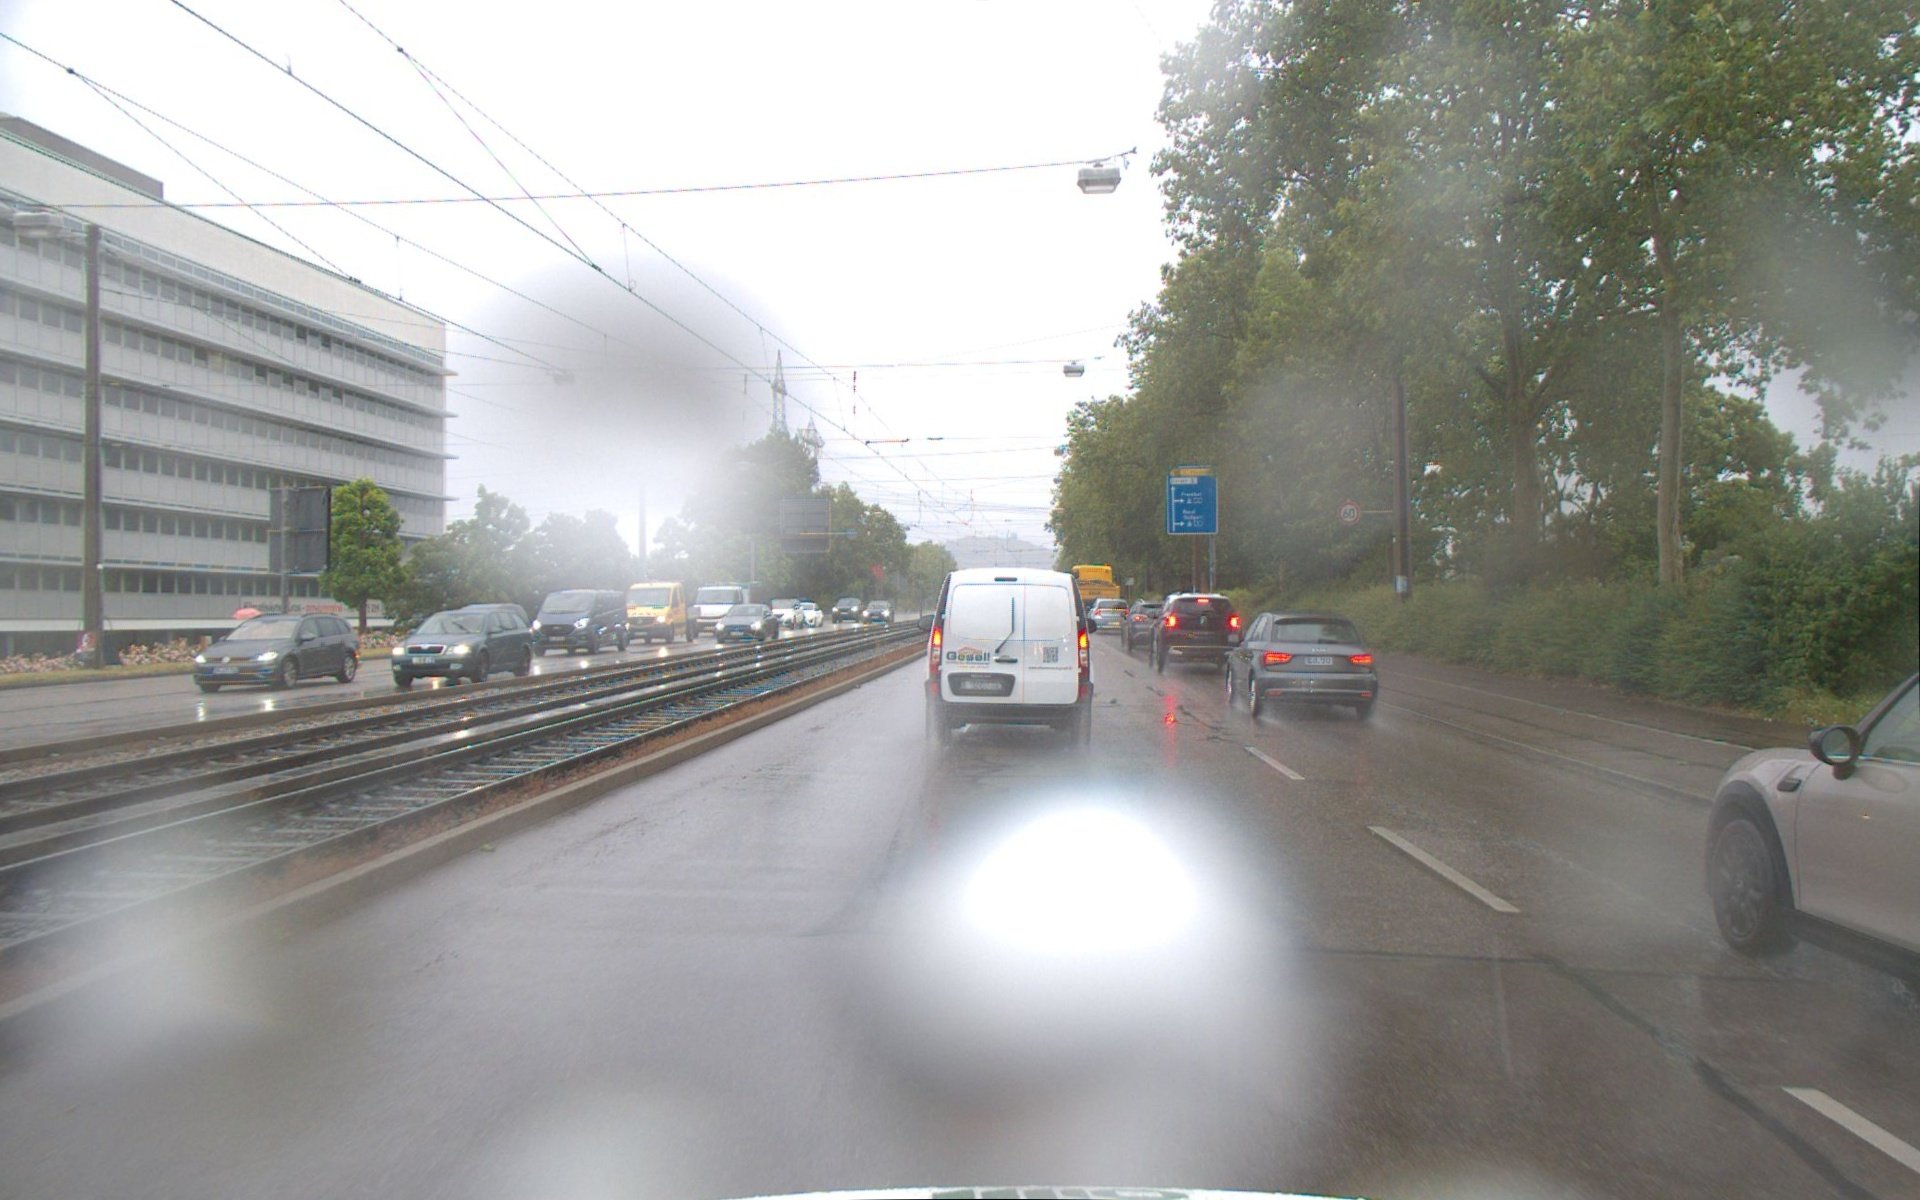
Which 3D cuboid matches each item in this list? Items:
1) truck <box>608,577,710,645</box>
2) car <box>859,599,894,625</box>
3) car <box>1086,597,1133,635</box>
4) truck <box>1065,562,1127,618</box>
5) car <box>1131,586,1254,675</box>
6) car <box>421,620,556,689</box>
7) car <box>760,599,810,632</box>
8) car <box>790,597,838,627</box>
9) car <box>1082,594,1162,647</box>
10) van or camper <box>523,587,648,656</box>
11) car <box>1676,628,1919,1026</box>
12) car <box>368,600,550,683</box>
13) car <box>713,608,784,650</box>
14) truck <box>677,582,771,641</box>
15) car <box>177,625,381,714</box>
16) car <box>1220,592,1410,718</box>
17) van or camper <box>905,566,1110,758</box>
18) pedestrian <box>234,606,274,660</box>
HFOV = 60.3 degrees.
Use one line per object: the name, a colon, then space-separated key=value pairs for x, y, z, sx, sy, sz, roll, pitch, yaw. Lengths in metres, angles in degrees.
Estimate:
truck: x=-11.660 y=0.409 z=64.656 sx=2.180 sy=2.505 sz=6.071 roll=1 pitch=0 yaw=7
car: x=-5.440 y=0.761 z=108.166 sx=1.780 sy=1.651 sz=4.538 roll=0 pitch=0 yaw=3
car: x=6.042 y=0.632 z=67.169 sx=1.780 sy=1.438 sz=3.780 roll=1 pitch=1 yaw=4
truck: x=7.059 y=-0.534 z=86.604 sx=3.048 sy=2.821 sz=6.332 roll=0 pitch=0 yaw=3
car: x=4.928 y=0.591 z=35.664 sx=1.861 sy=1.747 sz=4.724 roll=1 pitch=1 yaw=-1
car: x=-12.608 y=1.420 z=44.537 sx=1.819 sy=1.646 sz=4.911 roll=-2 pitch=0 yaw=5
car: x=-9.427 y=0.801 z=89.496 sx=1.734 sy=1.712 sz=4.692 roll=2 pitch=0 yaw=6
car: x=-8.586 y=0.694 z=97.744 sx=1.951 sy=1.611 sz=4.769 roll=-2 pitch=0 yaw=6
car: x=4.721 y=0.565 z=48.668 sx=1.782 sy=1.438 sz=3.776 roll=1 pitch=1 yaw=-3
van or camper: x=-12.025 y=0.654 z=53.566 sx=2.256 sy=2.049 sz=5.689 roll=2 pitch=0 yaw=5
car: x=4.400 y=0.873 z=6.210 sx=1.754 sy=1.438 sz=3.854 roll=2 pitch=-1 yaw=1
car: x=-10.031 y=0.799 z=33.518 sx=1.952 sy=1.482 sz=4.674 roll=-3 pitch=-1 yaw=4
car: x=-8.120 y=1.084 z=63.887 sx=1.819 sy=1.520 sz=4.692 roll=-1 pitch=0 yaw=3
truck: x=-10.645 y=0.489 z=75.289 sx=2.383 sy=2.500 sz=7.224 roll=2 pitch=0 yaw=7
car: x=-13.625 y=1.346 z=33.425 sx=1.922 sy=1.543 sz=4.556 roll=-2 pitch=0 yaw=4
car: x=4.883 y=0.697 z=23.296 sx=1.927 sy=1.555 sz=3.992 roll=1 pitch=1 yaw=2
van or camper: x=0.487 y=0.557 z=18.024 sx=1.952 sy=1.815 sz=4.001 roll=1 pitch=1 yaw=1
pedestrian: x=-24.224 y=1.130 z=56.755 sx=0.805 sy=1.793 sz=1.050 roll=2 pitch=-1 yaw=6
